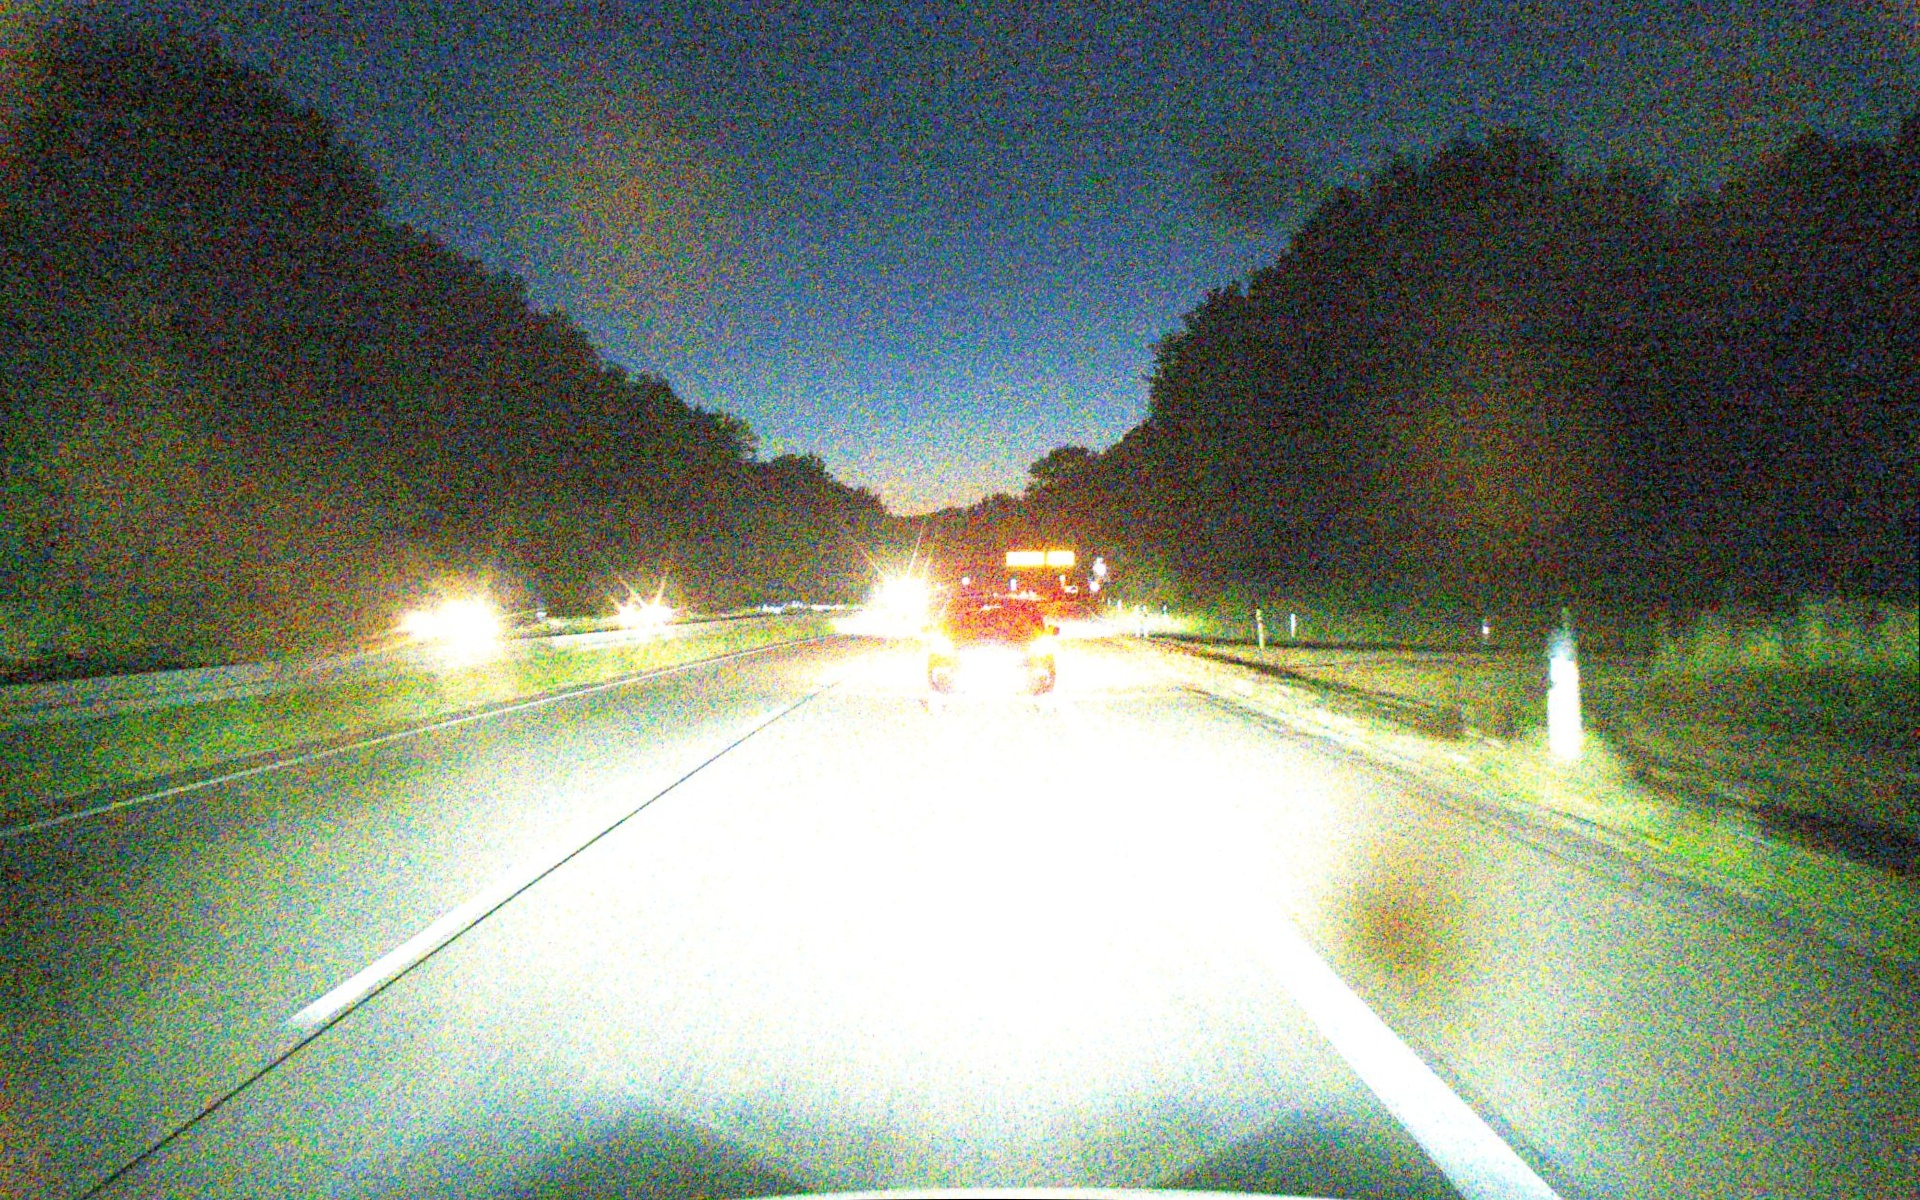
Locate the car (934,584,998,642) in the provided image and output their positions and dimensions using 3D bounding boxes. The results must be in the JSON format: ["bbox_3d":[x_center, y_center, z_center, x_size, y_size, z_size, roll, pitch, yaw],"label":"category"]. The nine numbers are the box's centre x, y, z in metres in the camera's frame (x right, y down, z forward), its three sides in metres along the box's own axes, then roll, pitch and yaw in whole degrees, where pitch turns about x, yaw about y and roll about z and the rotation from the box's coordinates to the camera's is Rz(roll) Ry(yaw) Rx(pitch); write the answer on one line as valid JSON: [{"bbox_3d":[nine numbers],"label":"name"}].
[{"bbox_3d":[0.229,0.367,51.807,1.867,1.728,4.001,0,1,2],"label":"car"}]

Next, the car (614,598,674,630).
[{"bbox_3d":[-16.167,0.701,84.908,1.916,1.482,4.173,-2,1,5],"label":"car"}]

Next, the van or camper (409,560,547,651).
[{"bbox_3d":[-15.229,0.114,52.811,2.248,2.663,7.664,-1,1,-1],"label":"van or camper"}]

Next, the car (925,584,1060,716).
[{"bbox_3d":[0.351,0.585,21.817,1.556,1.534,3.999,2,1,-2],"label":"car"}]
